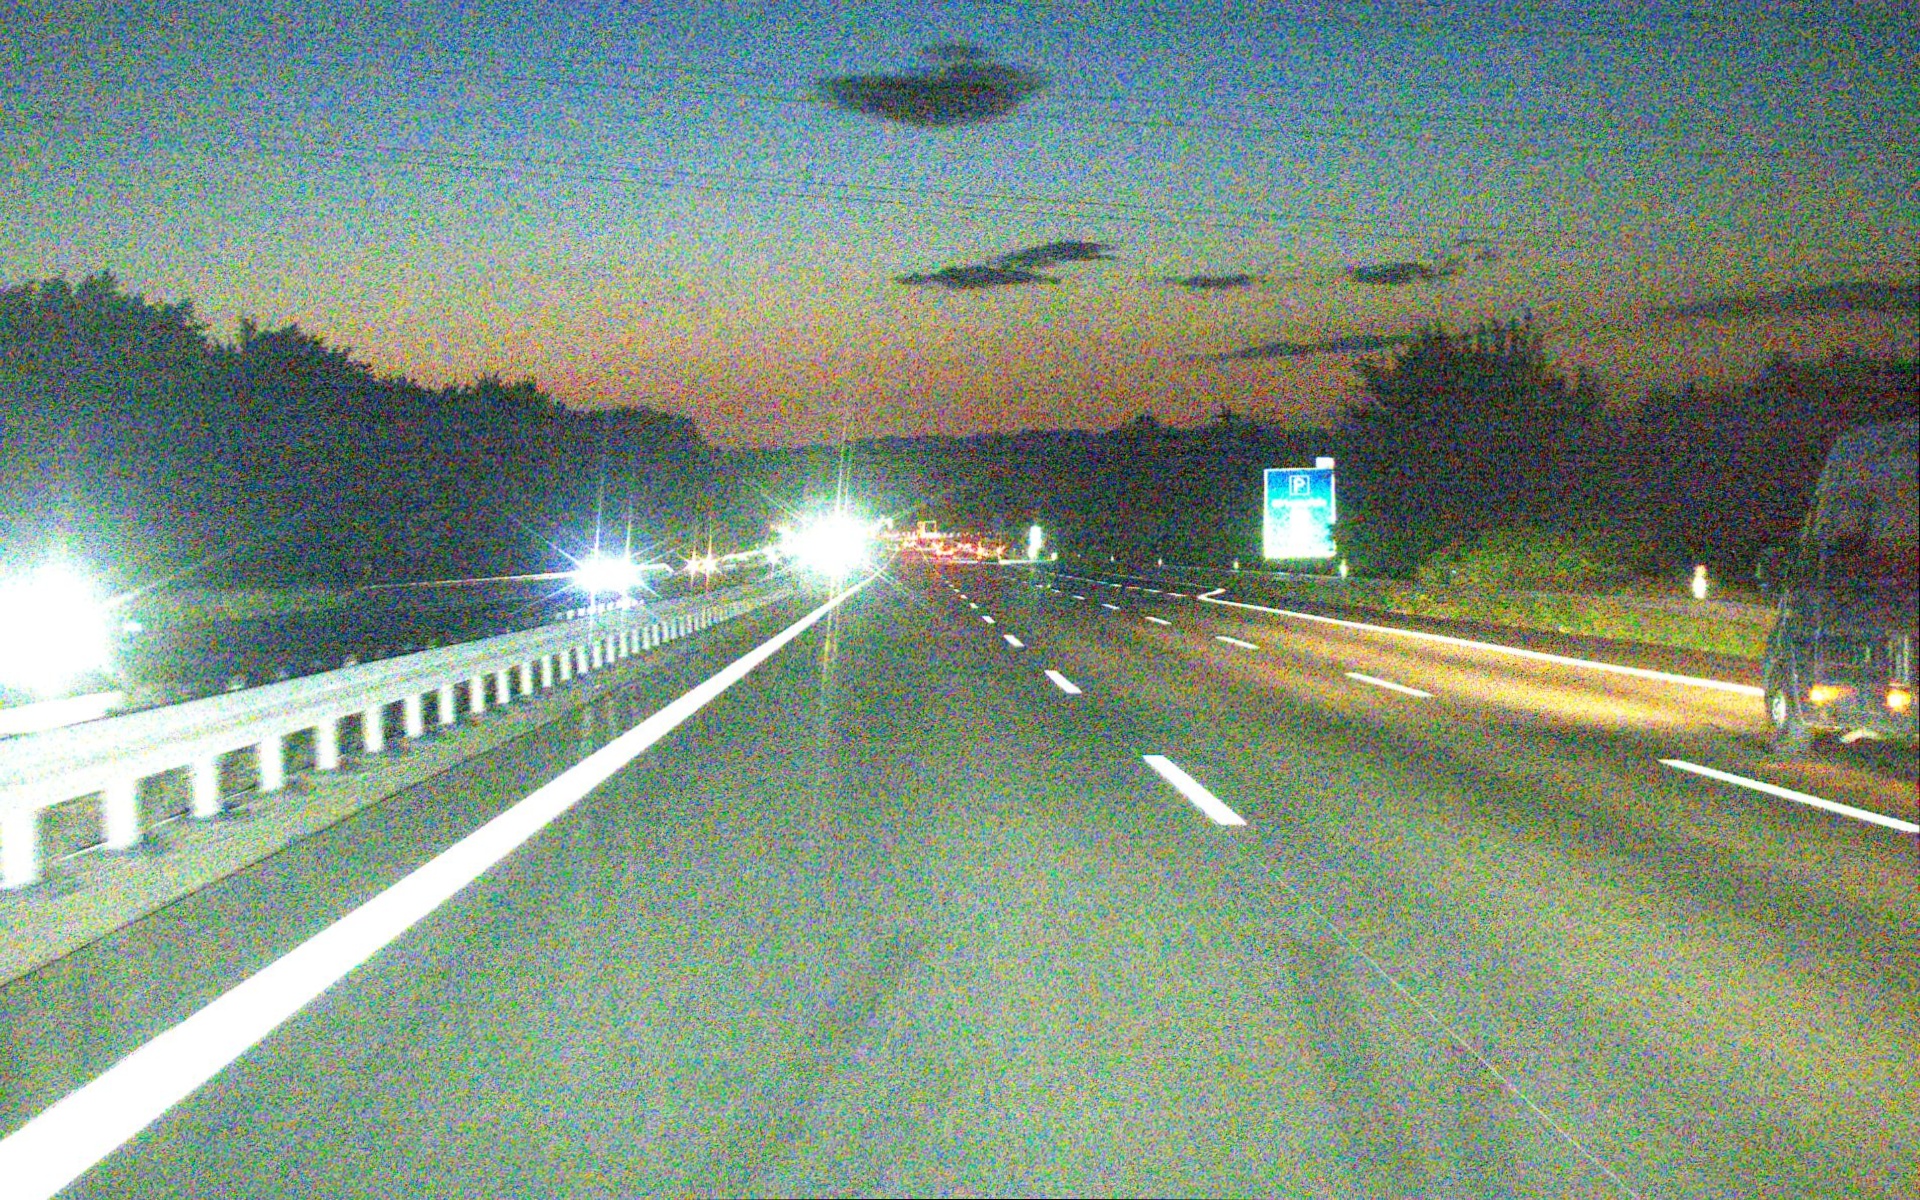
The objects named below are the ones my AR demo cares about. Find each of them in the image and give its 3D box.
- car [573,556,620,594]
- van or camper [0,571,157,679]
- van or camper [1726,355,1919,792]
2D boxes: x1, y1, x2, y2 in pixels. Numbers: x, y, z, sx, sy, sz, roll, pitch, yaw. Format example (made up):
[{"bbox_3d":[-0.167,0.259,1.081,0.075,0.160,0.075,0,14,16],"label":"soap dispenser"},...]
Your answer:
[{"bbox_3d":[-16.241,-1.152,153.720,1.993,1.632,5.075,-1,1,-5],"label":"car"},{"bbox_3d":[-13.653,0.359,52.165,1.779,1.436,5.103,-3,1,-1],"label":"van or camper"},{"bbox_3d":[7.144,-0.192,23.370,2.207,2.762,6.805,0,1,-1],"label":"van or camper"}]
